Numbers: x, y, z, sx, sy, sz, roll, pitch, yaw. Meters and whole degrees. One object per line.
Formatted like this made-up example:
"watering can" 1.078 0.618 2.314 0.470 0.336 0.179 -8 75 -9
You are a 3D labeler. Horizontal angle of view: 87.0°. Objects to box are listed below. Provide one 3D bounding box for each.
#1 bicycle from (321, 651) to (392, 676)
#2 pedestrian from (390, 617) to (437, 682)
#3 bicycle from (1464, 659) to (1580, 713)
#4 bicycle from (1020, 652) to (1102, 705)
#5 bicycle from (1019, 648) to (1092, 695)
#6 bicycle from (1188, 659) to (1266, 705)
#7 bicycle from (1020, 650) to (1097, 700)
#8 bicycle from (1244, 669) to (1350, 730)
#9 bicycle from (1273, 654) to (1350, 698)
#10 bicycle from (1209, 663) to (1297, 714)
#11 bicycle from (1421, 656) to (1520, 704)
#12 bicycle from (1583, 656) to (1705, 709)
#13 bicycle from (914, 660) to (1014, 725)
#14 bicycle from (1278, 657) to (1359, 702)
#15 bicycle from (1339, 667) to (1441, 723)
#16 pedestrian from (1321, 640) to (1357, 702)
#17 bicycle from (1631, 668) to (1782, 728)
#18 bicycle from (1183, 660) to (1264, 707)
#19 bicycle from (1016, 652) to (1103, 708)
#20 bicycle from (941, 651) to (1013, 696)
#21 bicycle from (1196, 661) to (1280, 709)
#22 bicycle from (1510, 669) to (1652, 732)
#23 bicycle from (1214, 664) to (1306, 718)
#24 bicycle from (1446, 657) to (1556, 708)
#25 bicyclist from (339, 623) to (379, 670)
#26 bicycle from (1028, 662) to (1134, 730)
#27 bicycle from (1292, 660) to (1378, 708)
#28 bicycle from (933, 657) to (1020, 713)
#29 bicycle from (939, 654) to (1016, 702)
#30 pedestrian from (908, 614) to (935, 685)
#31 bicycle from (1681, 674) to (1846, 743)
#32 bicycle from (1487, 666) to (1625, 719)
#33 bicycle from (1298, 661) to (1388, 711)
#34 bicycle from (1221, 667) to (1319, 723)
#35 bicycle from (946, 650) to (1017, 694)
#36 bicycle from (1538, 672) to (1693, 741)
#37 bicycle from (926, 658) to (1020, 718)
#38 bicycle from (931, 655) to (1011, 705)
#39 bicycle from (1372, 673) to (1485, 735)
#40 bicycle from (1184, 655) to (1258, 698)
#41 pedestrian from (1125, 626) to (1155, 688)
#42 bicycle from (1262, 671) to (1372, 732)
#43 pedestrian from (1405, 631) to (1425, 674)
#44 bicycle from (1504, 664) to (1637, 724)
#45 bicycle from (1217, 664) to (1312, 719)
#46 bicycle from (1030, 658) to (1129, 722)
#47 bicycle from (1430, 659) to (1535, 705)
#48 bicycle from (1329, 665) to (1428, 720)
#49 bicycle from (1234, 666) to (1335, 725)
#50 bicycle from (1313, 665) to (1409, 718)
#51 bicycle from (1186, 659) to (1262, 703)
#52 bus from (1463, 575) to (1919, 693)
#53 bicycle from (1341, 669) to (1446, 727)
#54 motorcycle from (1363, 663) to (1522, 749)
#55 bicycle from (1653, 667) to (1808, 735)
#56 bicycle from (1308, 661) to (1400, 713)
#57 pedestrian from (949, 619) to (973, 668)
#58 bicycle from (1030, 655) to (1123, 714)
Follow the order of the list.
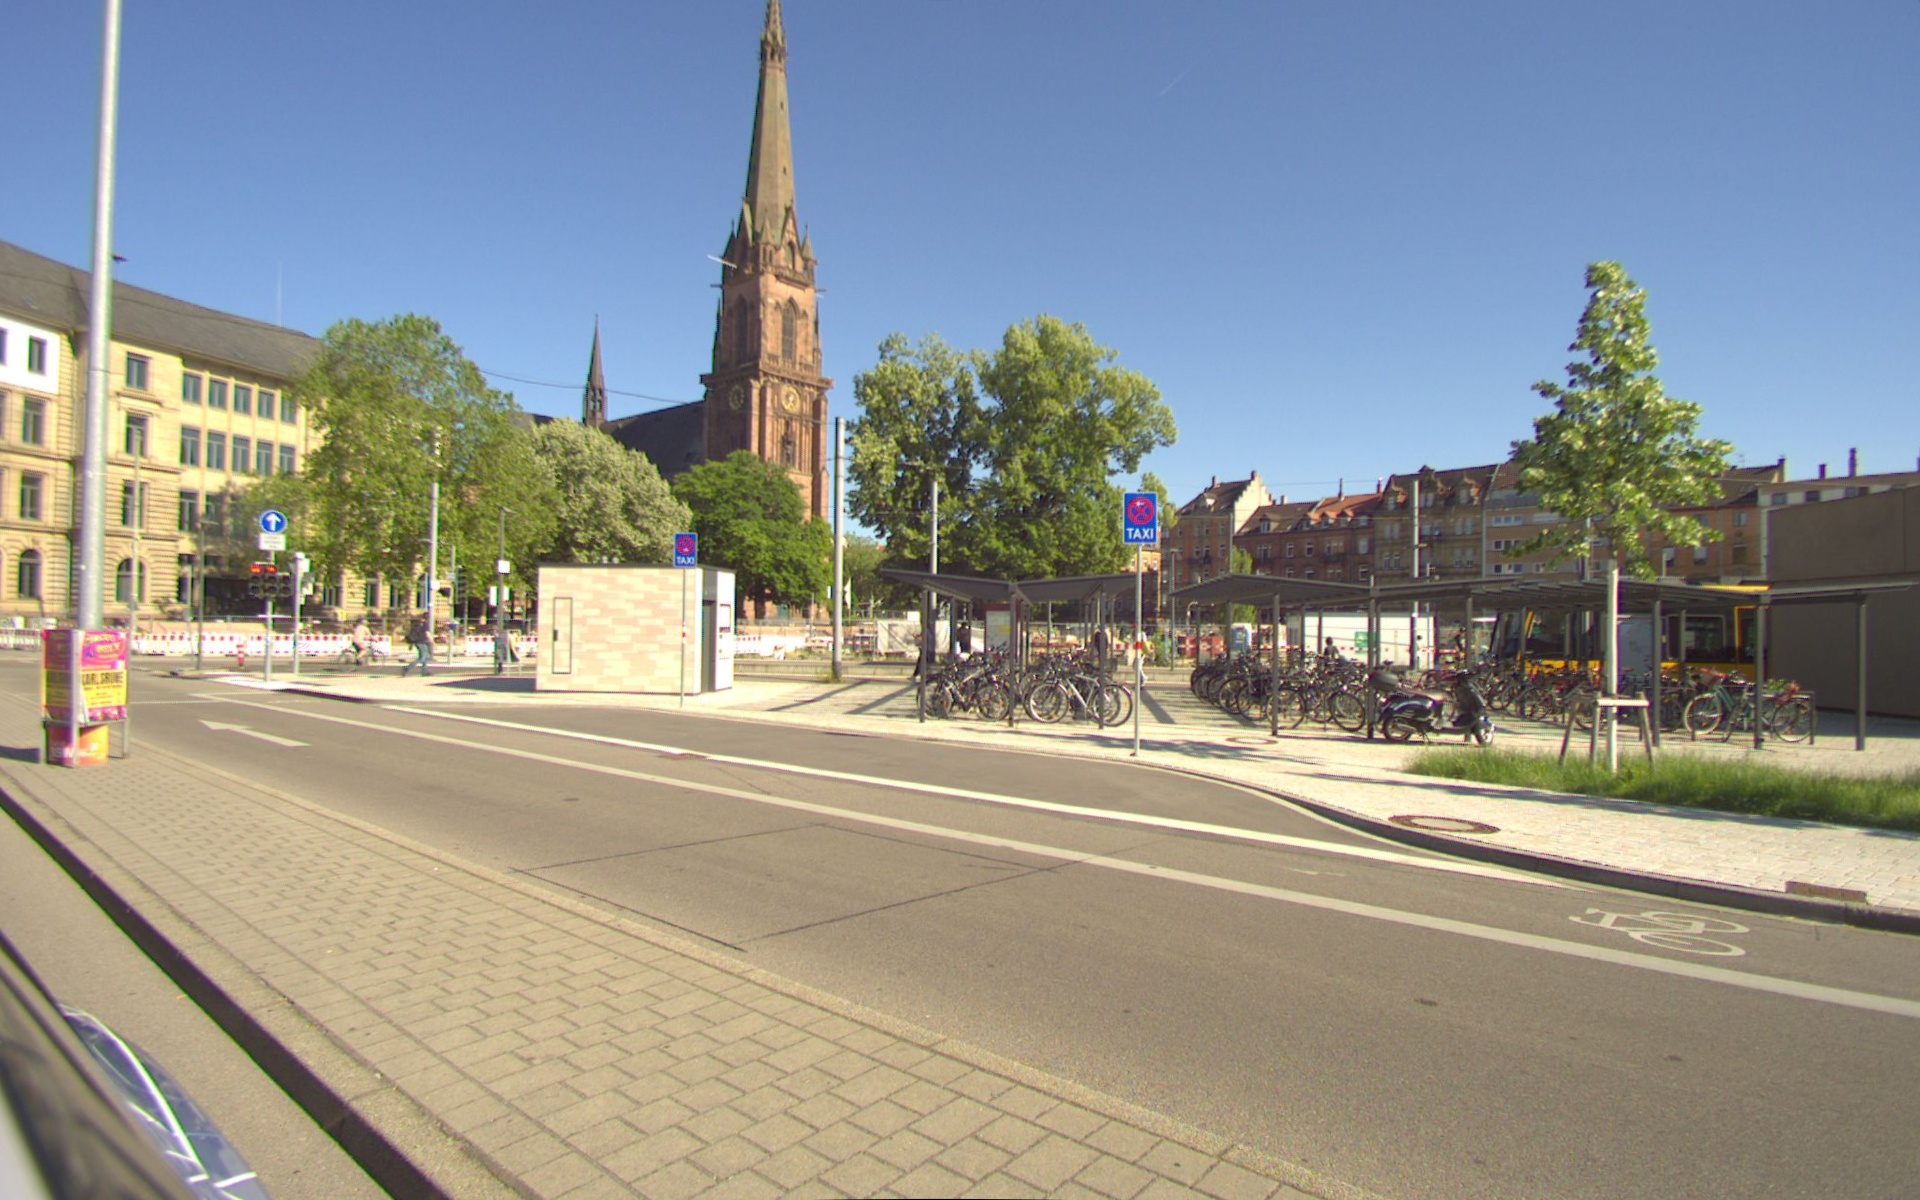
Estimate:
"bicycle" -20.386 2.133 34.241 0.736 0.788 2.037 0 -2 22
"pedestrian" -15.227 1.366 28.203 0.987 1.756 0.631 2 -2 -42
"bicycle" 11.785 1.800 21.266 2.048 1.045 0.533 -1 2 8
"bicycle" 2.202 1.699 22.030 1.755 1.083 0.406 1 0 6
"bicycle" 2.323 1.728 24.679 1.755 1.083 0.406 1 0 6
"bicycle" 6.062 1.865 23.053 1.661 0.980 0.406 1 -5 3
"bicycle" 2.281 1.736 23.500 1.755 1.083 0.406 1 0 6
"bicycle" 5.802 1.714 17.465 1.661 0.980 0.406 1 0 3
"bicycle" 8.300 1.790 23.916 1.661 0.980 0.406 -1 0 3
"bicycle" 5.933 1.789 20.566 1.661 0.980 0.406 1 -5 3
"bicycle" 12.309 1.924 24.431 2.048 1.045 0.533 1 3 8
"bicycle" 14.086 1.701 20.879 2.048 1.045 0.533 -1 0 8
"bicycle" 0.076 1.578 17.384 1.663 1.006 0.406 2 0 8
"bicycle" 8.082 1.793 22.840 1.661 0.980 0.406 -1 0 3
"bicycle" 7.832 1.727 18.461 1.661 0.980 0.406 -1 0 3
"pedestrian" 11.944 2.230 31.904 0.757 1.931 0.805 1 -2 -11
"bicycle" 13.487 1.768 18.331 2.117 1.005 0.690 -1 0 7
"bicycle" 5.794 1.842 22.298 1.661 0.980 0.406 1 -5 3
"bicycle" 2.061 1.647 20.975 1.755 1.083 0.406 1 0 6
"bicycle" 0.402 1.706 23.664 1.663 1.006 0.406 0 0 8
"bicycle" 5.934 1.810 21.641 1.661 0.980 0.406 1 -5 3
"bicycle" 10.814 1.745 17.665 2.048 1.045 0.533 -1 0 8
"bicycle" 5.910 1.785 19.960 1.661 0.980 0.406 1 0 3
"bicycle" 11.874 1.806 22.257 2.048 1.045 0.533 -1 2 8
"bicyclist" -20.355 1.565 34.300 0.736 1.583 0.880 0 -2 21
"bicycle" 2.030 1.610 17.094 1.753 1.083 0.406 1 -3 6
"bicycle" 7.997 1.794 21.625 1.661 0.980 0.406 -1 0 3
"bicycle" 0.337 1.668 19.947 1.663 1.006 0.406 2 0 8
"bicycle" 0.393 1.709 22.286 1.663 1.006 0.406 0 0 8
"pedestrian" -1.024 1.319 26.958 0.692 1.874 0.621 0 -1 -4
"bicycle" 12.775 1.719 16.139 2.048 1.045 0.533 -1 0 8
"bicycle" 11.622 1.803 19.792 2.208 0.951 0.685 -1 0 7
"bicycle" 7.869 1.765 20.827 1.661 0.980 0.406 -1 0 3
"bicycle" 5.737 1.754 18.770 1.661 0.980 0.406 -1 0 3
"bicycle" 0.526 1.707 24.189 1.663 1.006 0.406 0 0 8
"bicycle" 10.581 1.715 16.391 2.048 1.045 0.533 -1 0 8
"bicycle" 0.240 1.601 18.603 1.663 1.006 0.406 2 0 8
"bicycle" 0.238 1.680 21.406 1.663 1.006 0.406 0 0 8
"bicycle" 7.776 1.728 16.823 1.661 0.980 0.406 -1 0 3
"bicycle" 6.264 1.841 24.313 1.661 0.980 0.406 1 -5 3
"pedestrian" 4.799 1.513 26.993 0.692 1.635 0.620 0 -2 1
"bicycle" 5.942 1.689 16.891 1.661 0.980 0.406 -1 0 3
"pedestrian" 20.099 2.312 44.708 0.637 1.885 0.529 0 -2 5
"bicycle" 11.330 1.738 18.814 2.048 1.045 0.533 -1 0 8
"bicycle" 5.823 1.742 19.377 1.661 0.980 0.406 1 0 3
"bicycle" 2.148 1.621 18.339 1.753 1.083 0.406 1 0 6
"bicycle" 12.039 1.884 23.375 2.048 1.045 0.533 -1 -4 8
"bicycle" 7.851 1.735 19.015 1.661 0.980 0.406 -1 0 3
"bicycle" 5.824 1.714 18.190 1.661 0.980 0.406 1 0 3
"bicycle" 7.725 1.767 19.531 1.661 0.980 0.406 -1 0 3
"bicycle" 6.146 1.886 23.626 1.661 0.980 0.406 1 -5 3
"bus" 21.906 0.938 28.654 13.462 3.095 2.859 0 -2 6
"bicycle" 7.652 1.729 17.894 1.661 0.980 0.406 -1 0 3
"motorcycle" 7.202 1.575 15.161 2.059 1.228 0.569 -1 -2 3
"bicycle" 12.997 1.701 17.117 2.030 1.087 0.604 -1 0 7
"bicycle" 7.866 1.735 20.230 1.661 0.980 0.406 -1 0 3
"pedestrian" 0.036 1.684 39.138 0.610 1.874 0.703 2 -2 -39
"bicycle" 2.244 1.625 19.584 1.755 1.083 0.406 1 0 6
